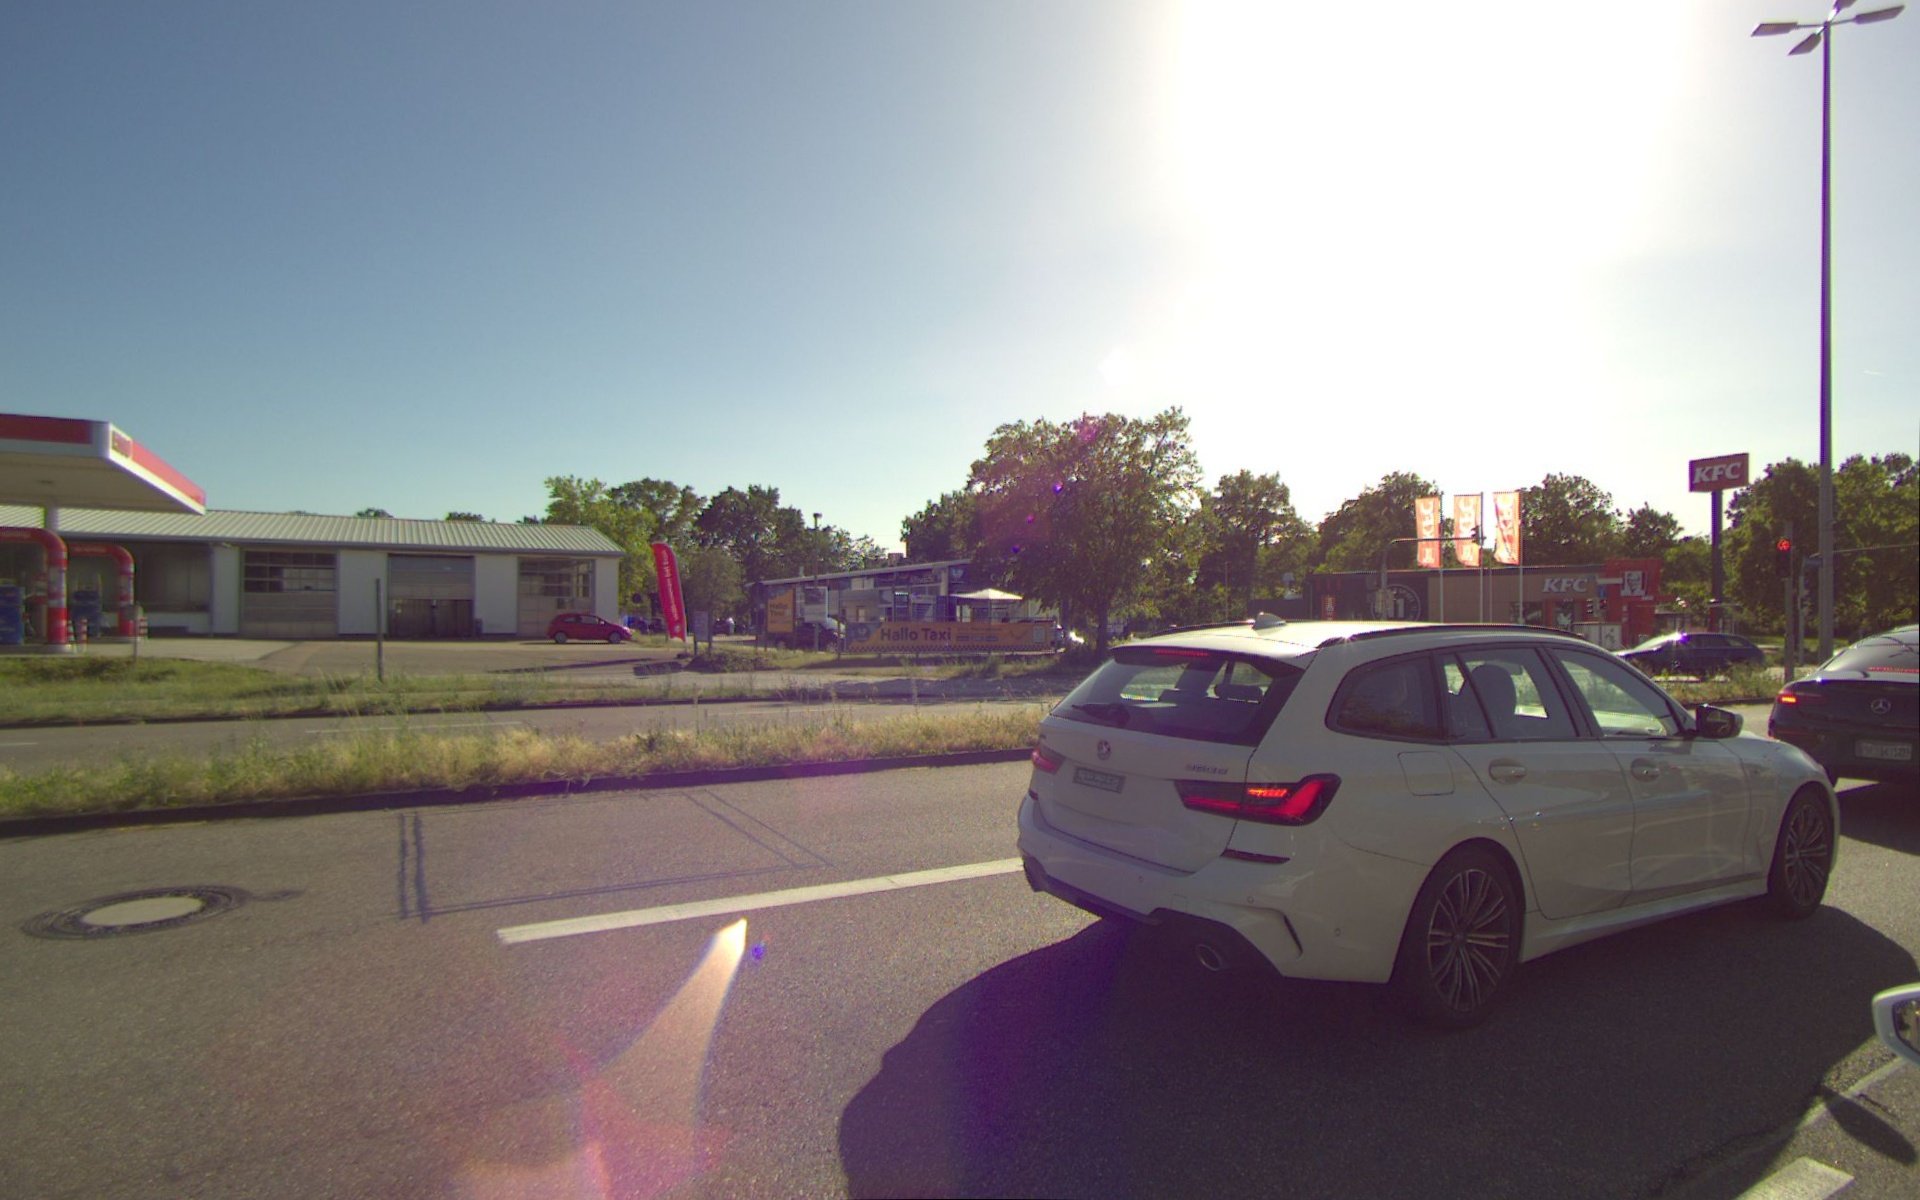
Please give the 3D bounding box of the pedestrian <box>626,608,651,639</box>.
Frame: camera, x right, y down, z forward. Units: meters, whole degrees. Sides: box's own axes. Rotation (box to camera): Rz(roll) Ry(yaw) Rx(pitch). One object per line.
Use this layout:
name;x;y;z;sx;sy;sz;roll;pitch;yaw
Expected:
pedestrian;-18.513;1.334;57.881;1.089;1.787;1.148;1;-1;-35

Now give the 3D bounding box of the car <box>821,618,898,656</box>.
car;-3.722;1.327;36.854;1.625;1.301;3.122;1;-1;-32

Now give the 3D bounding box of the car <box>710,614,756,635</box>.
car;-19.931;2.149;88.258;2.085;1.840;4.000;0;-1;20

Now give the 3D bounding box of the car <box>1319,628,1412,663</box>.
car;20.066;2.229;49.854;1.804;1.616;4.016;1;-1;-31

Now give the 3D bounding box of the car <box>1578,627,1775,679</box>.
car;21.780;1.586;30.717;4.514;1.465;1.911;0;-1;9

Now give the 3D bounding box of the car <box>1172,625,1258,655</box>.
car;13.787;2.132;54.522;1.840;1.449;4.701;0;0;-28

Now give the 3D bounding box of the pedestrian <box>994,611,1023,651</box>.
pedestrian;2.229;1.435;46.536;0.916;1.840;1.013;1;-1;-34

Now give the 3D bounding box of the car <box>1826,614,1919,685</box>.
car;24.839;1.237;25.218;4.346;1.712;1.886;0;-1;8

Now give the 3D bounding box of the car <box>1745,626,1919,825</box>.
car;8.796;0.959;8.624;4.409;1.433;1.760;1;-1;-30

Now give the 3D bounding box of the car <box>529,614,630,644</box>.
car;-18.643;1.416;49.250;4.486;1.458;1.741;1;-1;-26

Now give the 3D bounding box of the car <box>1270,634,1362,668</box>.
car;17.019;2.410;48.163;1.801;1.448;4.022;1;-1;-27

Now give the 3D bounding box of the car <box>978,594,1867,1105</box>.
car;2.417;0.792;4.904;4.409;1.529;1.760;1;-1;-30
